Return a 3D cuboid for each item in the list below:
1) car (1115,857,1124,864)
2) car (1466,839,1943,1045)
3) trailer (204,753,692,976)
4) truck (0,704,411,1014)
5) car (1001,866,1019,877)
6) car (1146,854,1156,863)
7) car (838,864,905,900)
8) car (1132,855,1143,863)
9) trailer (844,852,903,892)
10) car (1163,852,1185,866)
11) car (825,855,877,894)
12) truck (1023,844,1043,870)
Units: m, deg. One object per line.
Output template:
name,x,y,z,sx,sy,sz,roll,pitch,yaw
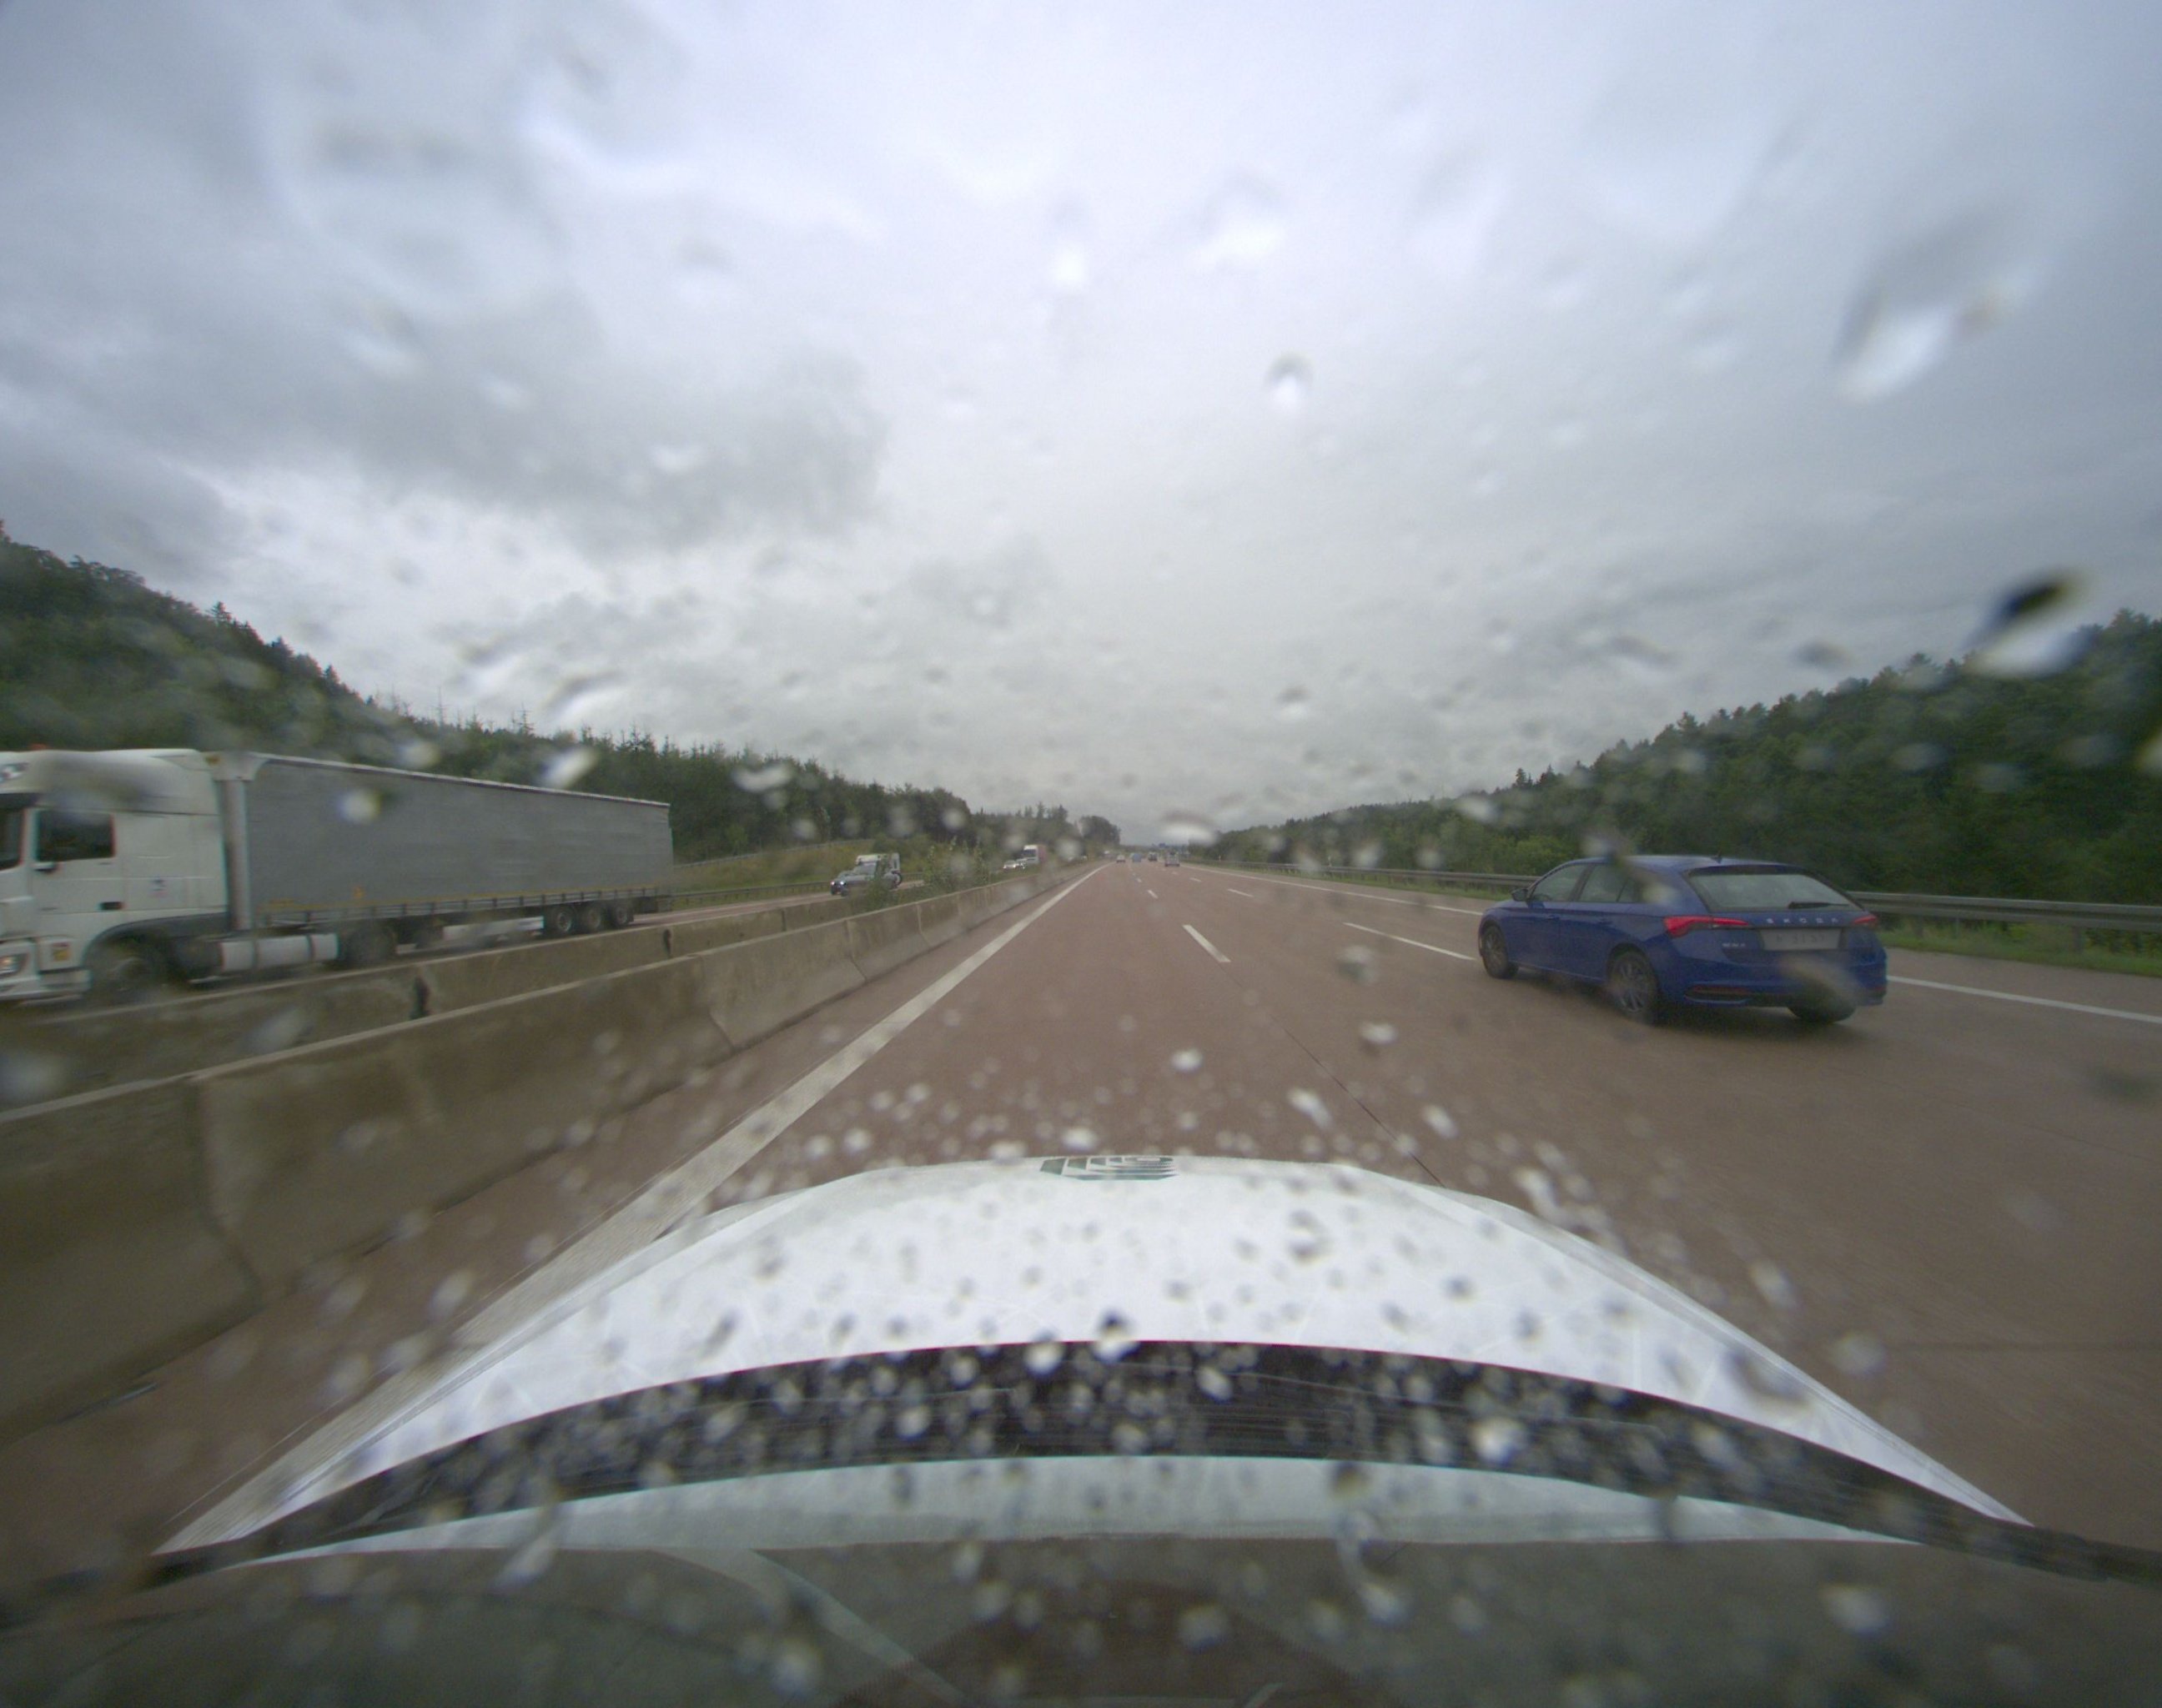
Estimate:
car,8.282,1.348,176.421,1.866,1.444,4.879,0,-1,2
car,5.722,0.712,8.279,1.764,1.564,4.148,0,-1,2
trailer,-15.208,0.327,22.000,2.729,4.140,12.760,-3,-1,2
truck,-15.499,0.178,13.987,2.758,4.176,6.003,-3,-1,2
car,-10.399,2.567,120.154,1.985,1.575,4.527,-2,-1,2
car,16.681,1.034,194.018,1.987,2.014,3.999,0,-1,0
car,-10.504,1.347,41.273,1.685,1.557,5.680,-3,0,2
car,12.685,1.129,183.397,2.315,1.750,4.876,0,-1,0
trailer,-13.947,1.123,55.100,2.268,2.411,5.440,-4,0,2
car,12.389,0.697,108.721,2.315,1.750,4.876,0,-1,0
car,-14.070,1.222,50.106,1.752,2.153,4.429,-3,0,1
truck,-8.519,0.607,144.769,2.938,4.477,6.795,0,-1,2
